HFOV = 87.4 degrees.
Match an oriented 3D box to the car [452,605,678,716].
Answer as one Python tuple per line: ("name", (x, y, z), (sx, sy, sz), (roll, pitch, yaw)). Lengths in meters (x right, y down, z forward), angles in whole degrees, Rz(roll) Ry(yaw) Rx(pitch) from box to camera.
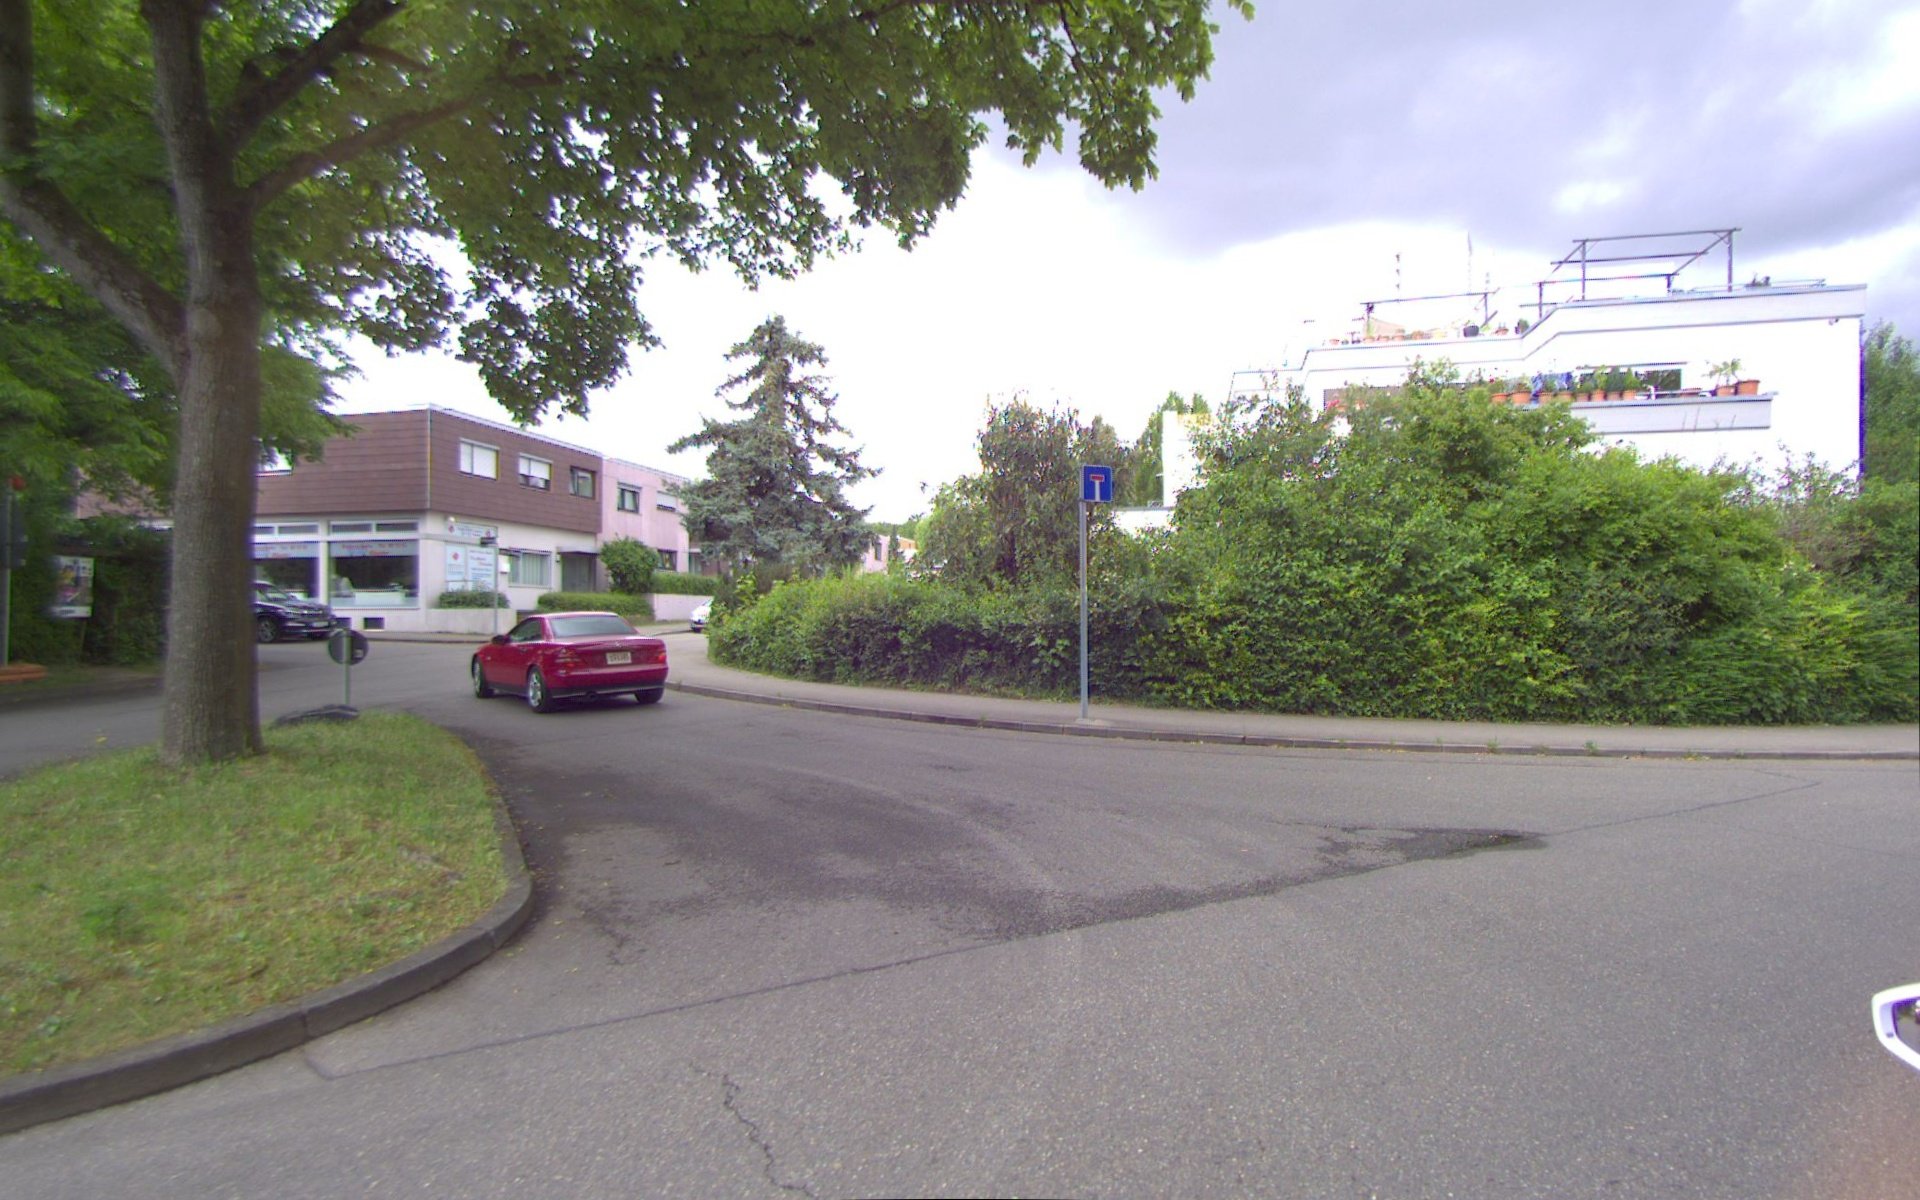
("car", (-5.791, 0.763, 14.475), (1.743, 1.353, 4.015), (1, 0, -42))

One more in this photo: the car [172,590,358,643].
("car", (-19.691, 0.429, 28.530), (4.192, 1.395, 2.001), (0, 2, 13))

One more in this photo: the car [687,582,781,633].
("car", (-8.484, 0.324, 38.067), (1.725, 1.739, 4.002), (0, -3, 17))
